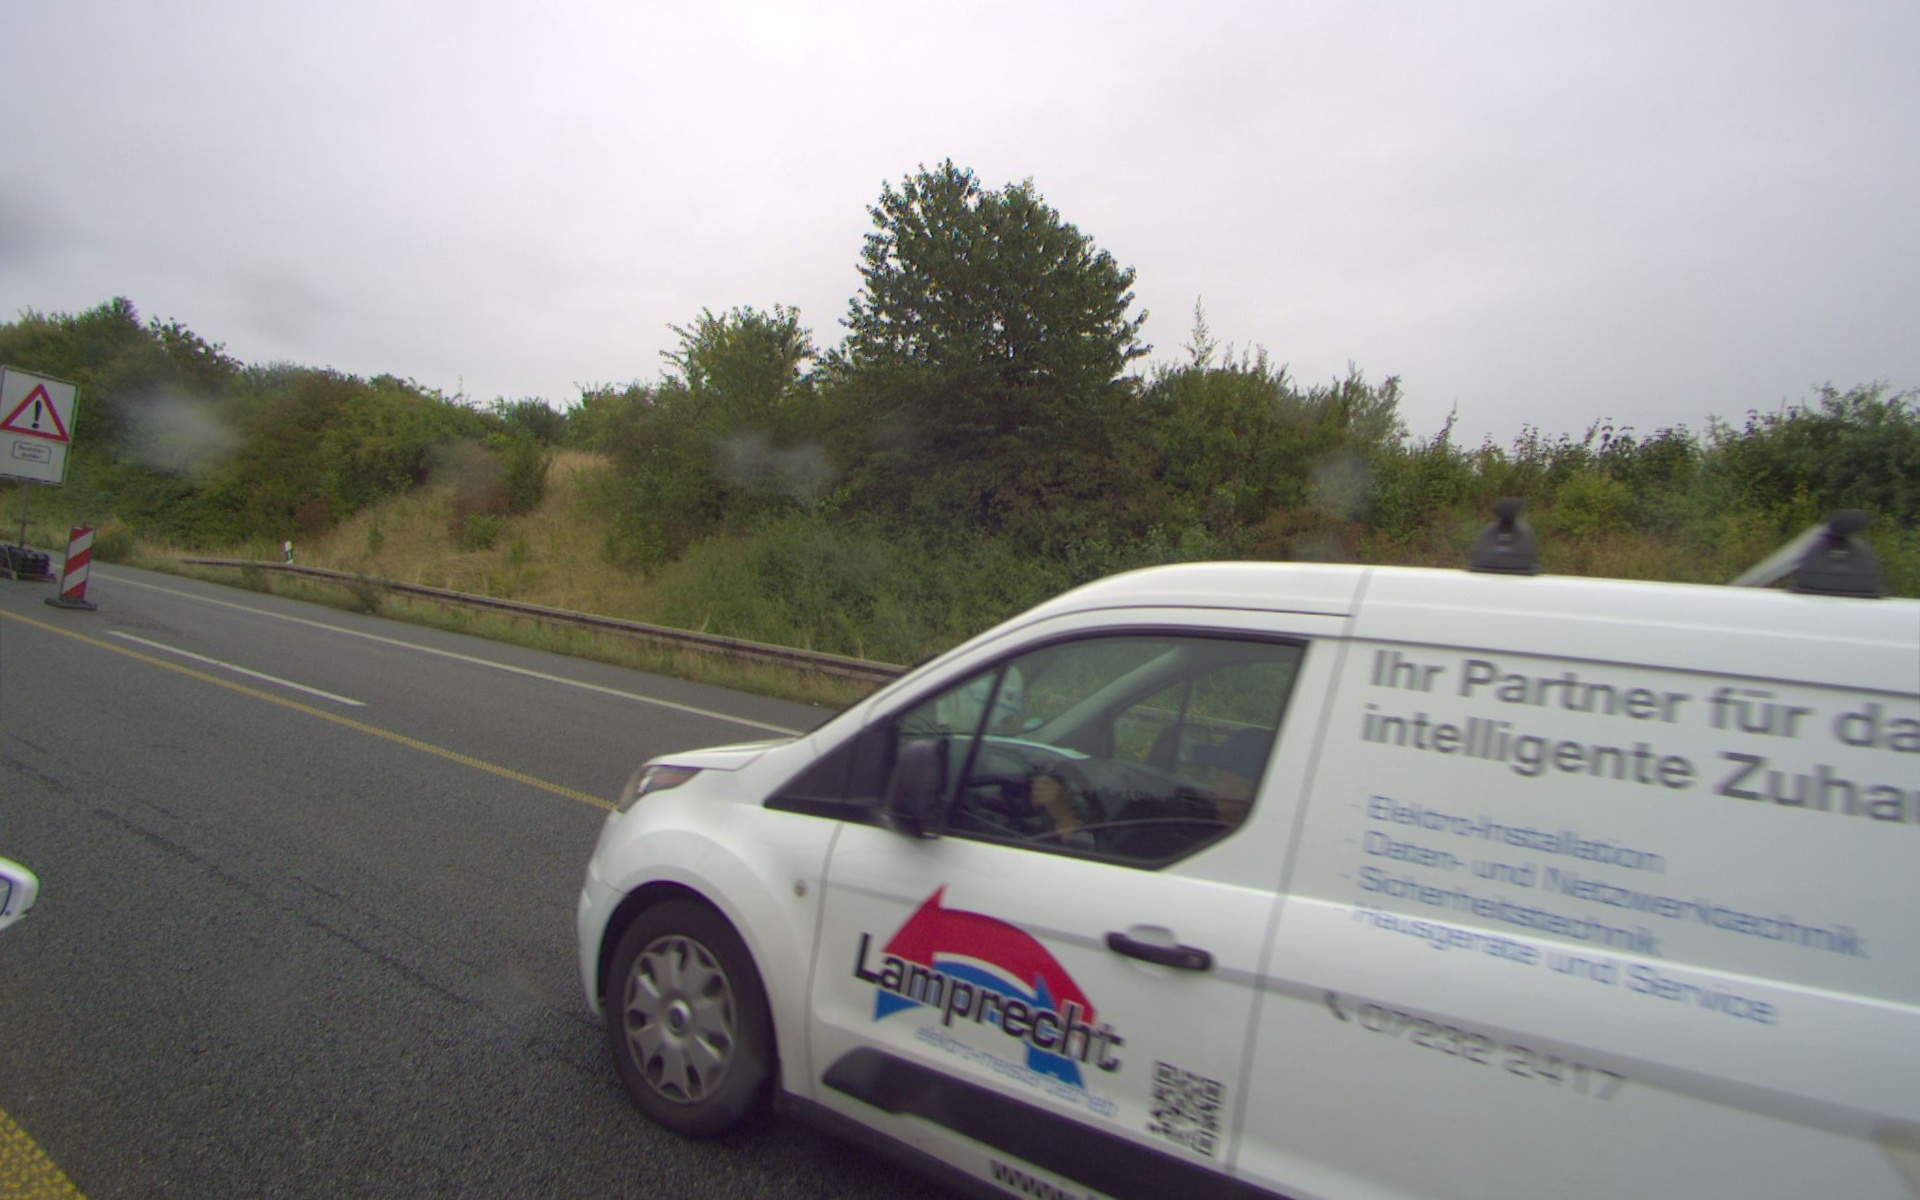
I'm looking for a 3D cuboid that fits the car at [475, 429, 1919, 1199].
[{"bbox_3d":[1.007,0.705,2.695,4.578,1.861,1.832,7,-1,32],"label":"car"}]
